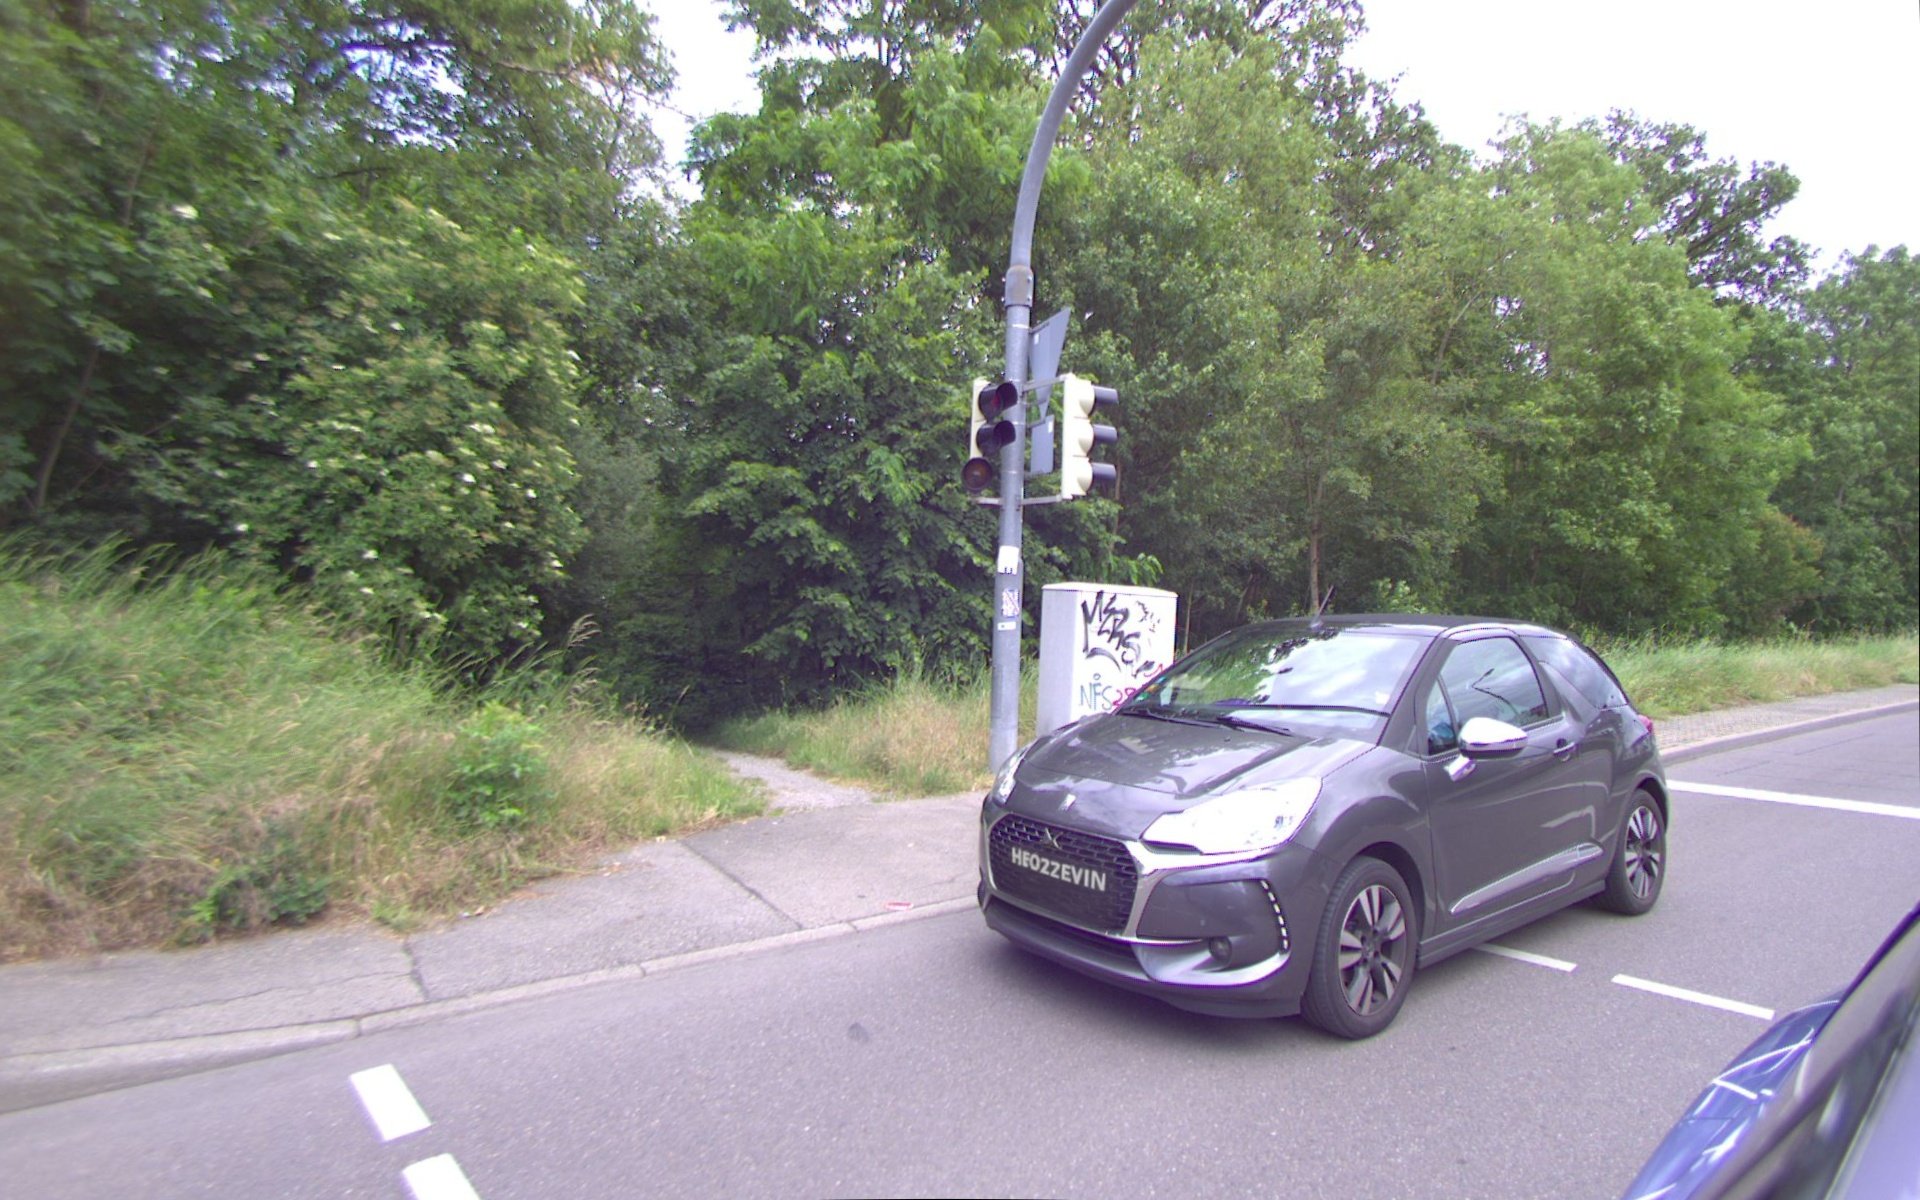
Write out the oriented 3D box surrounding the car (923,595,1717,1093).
[{"bbox_3d":[1.869,0.731,4.827,3.782,1.476,1.731,0,-1,-36],"label":"car"}]
